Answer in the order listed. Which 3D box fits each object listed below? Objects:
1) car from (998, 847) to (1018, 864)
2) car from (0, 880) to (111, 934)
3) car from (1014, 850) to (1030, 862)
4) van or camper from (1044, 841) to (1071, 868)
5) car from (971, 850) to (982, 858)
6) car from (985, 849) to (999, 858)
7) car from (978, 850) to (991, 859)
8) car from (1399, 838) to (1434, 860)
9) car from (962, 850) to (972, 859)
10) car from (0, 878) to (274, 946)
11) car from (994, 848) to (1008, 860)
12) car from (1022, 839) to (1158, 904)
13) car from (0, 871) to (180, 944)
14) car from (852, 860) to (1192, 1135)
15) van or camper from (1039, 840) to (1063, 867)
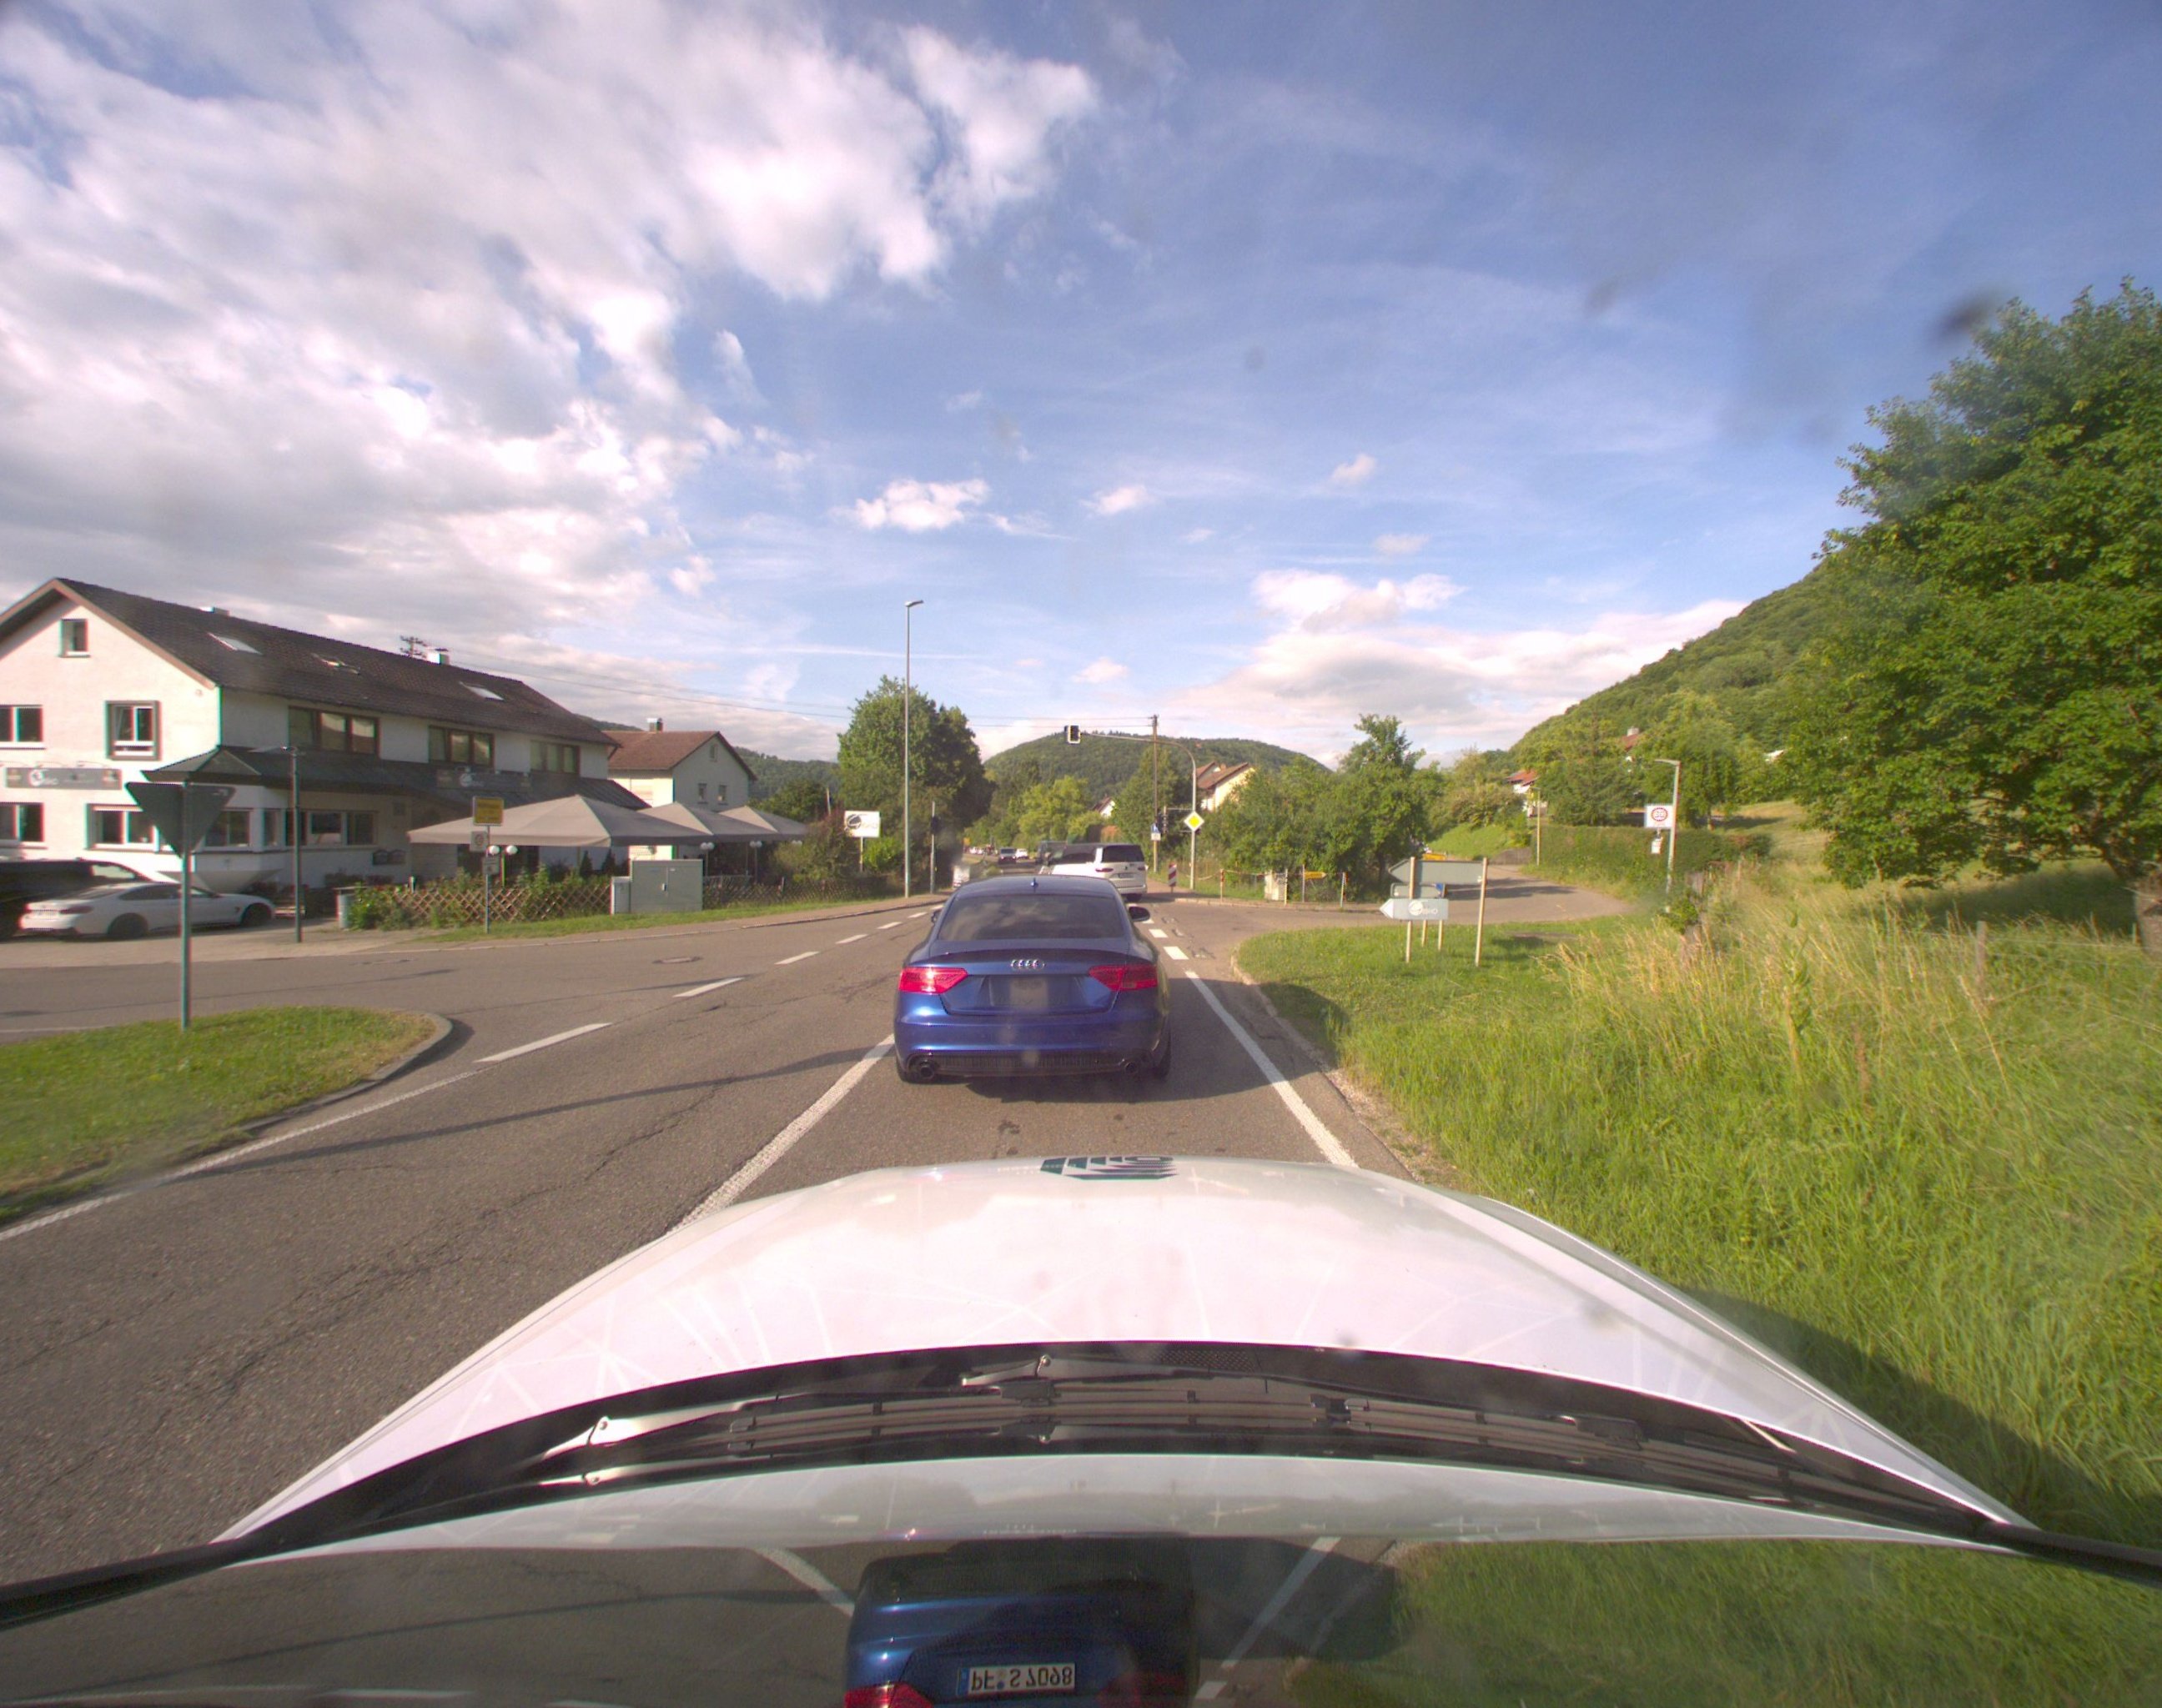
[{"bbox_3d":[-8.395,0.160,93.655,1.992,1.903,5.240,-2,1,-7],"label":"car"},{"bbox_3d":[-30.405,1.514,22.305,1.984,1.389,4.582,-2,0,5],"label":"car"},{"bbox_3d":[-8.233,0.255,113.539,1.819,1.552,3.988,-1,0,-8],"label":"car"},{"bbox_3d":[-2.213,0.059,75.321,2.176,2.385,5.362,-1,0,-4],"label":"van or camper"},{"bbox_3d":[-21.344,-0.019,166.016,1.944,1.424,3.982,-1,1,-13],"label":"car"},{"bbox_3d":[-16.269,-0.090,148.673,2.043,1.684,3.982,-1,1,-13],"label":"car"},{"bbox_3d":[-18.608,0.075,157.151,1.944,1.684,3.982,-2,0,-13],"label":"car"},{"bbox_3d":[25.474,-0.398,61.977,1.854,1.610,4.590,0,1,15],"label":"car"},{"bbox_3d":[-24.896,0.080,178.503,1.774,1.783,3.982,-1,0,-13],"label":"car"},{"bbox_3d":[-24.659,1.442,21.462,1.984,1.389,4.582,-2,0,5],"label":"car"},{"bbox_3d":[-13.802,0.041,139.911,1.995,2.013,3.983,-1,0,-12],"label":"car"},{"bbox_3d":[0.177,0.499,26.970,2.009,1.876,4.818,1,1,-36],"label":"car"},{"bbox_3d":[-27.339,1.372,21.411,1.984,1.685,4.582,-2,0,5],"label":"car"},{"bbox_3d":[-0.312,0.800,6.592,1.824,1.409,4.226,-2,0,0],"label":"car"},{"bbox_3d":[-3.308,-0.077,89.176,2.410,2.904,6.122,-1,0,-4],"label":"van or camper"}]
